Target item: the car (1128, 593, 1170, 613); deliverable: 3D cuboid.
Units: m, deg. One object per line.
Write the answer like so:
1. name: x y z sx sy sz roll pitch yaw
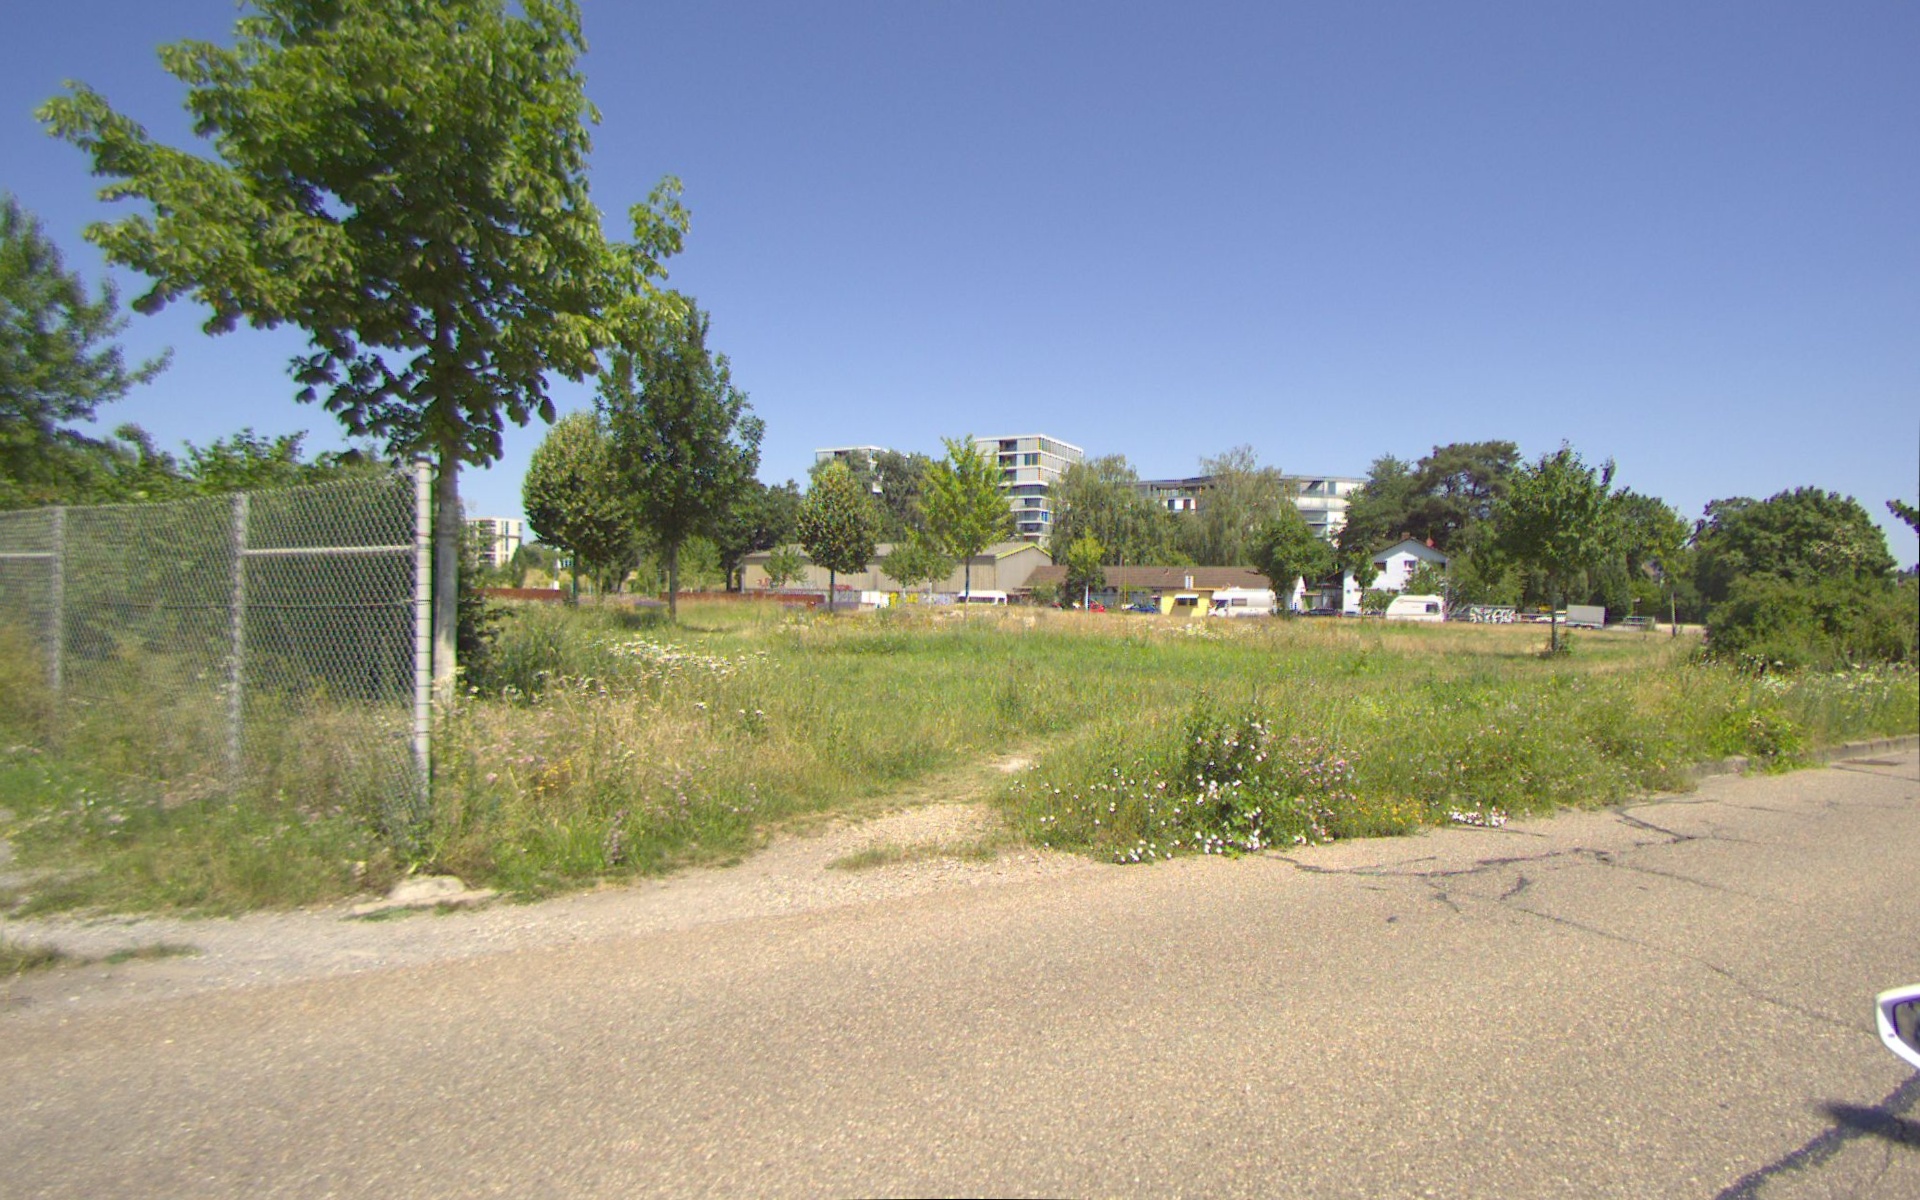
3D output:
1. car: 17.756 0.284 94.447 3.514 1.795 1.755 1 0 27

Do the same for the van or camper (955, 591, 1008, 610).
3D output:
1. van or camper: 2.211 0.023 102.876 4.966 1.905 2.355 1 0 27

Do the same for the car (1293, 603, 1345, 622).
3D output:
1. car: 31.172 1.086 87.223 3.931 1.573 1.910 1 0 33

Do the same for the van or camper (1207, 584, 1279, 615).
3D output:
1. van or camper: 25.497 -0.068 90.481 5.862 2.628 2.468 1 0 29

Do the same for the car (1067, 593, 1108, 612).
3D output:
1. car: 12.394 0.252 97.612 3.514 1.795 1.755 1 0 27

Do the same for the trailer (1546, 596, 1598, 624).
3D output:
1. trailer: 47.653 0.759 78.276 3.364 2.073 1.757 1 0 31

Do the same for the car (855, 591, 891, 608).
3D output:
1. car: -9.546 -0.045 109.961 3.514 1.795 1.755 1 0 27

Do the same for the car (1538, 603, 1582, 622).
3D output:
1. car: 51.909 1.062 86.919 3.287 1.598 1.768 1 0 32

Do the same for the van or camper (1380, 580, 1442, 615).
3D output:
1. van or camper: 37.608 -0.226 83.714 4.387 2.626 2.487 3 2 30
